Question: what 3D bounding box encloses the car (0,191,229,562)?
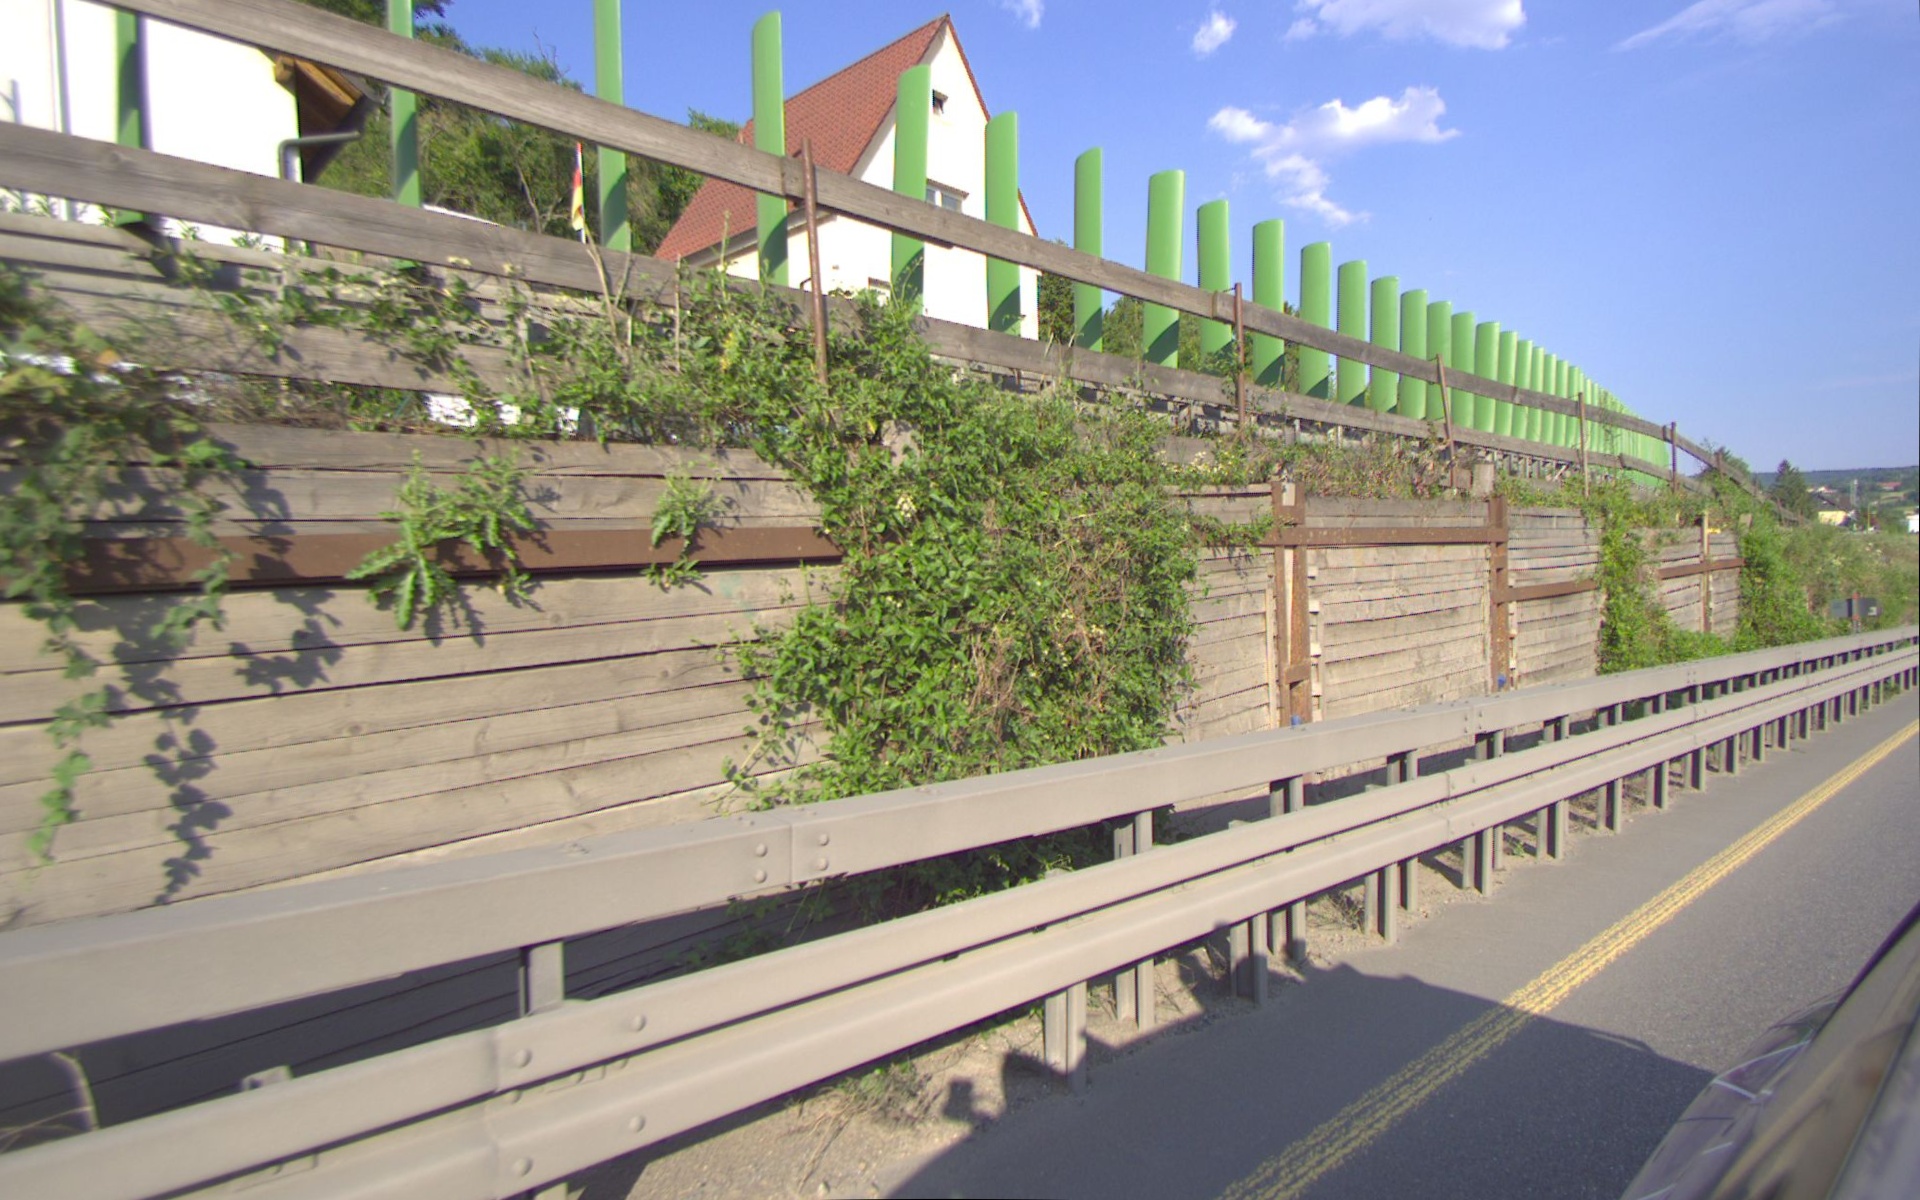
[{"bbox_3d":[-5.999,-0.982,4.184,1.698,1.678,4.577,1,3,44],"label":"car"}]
